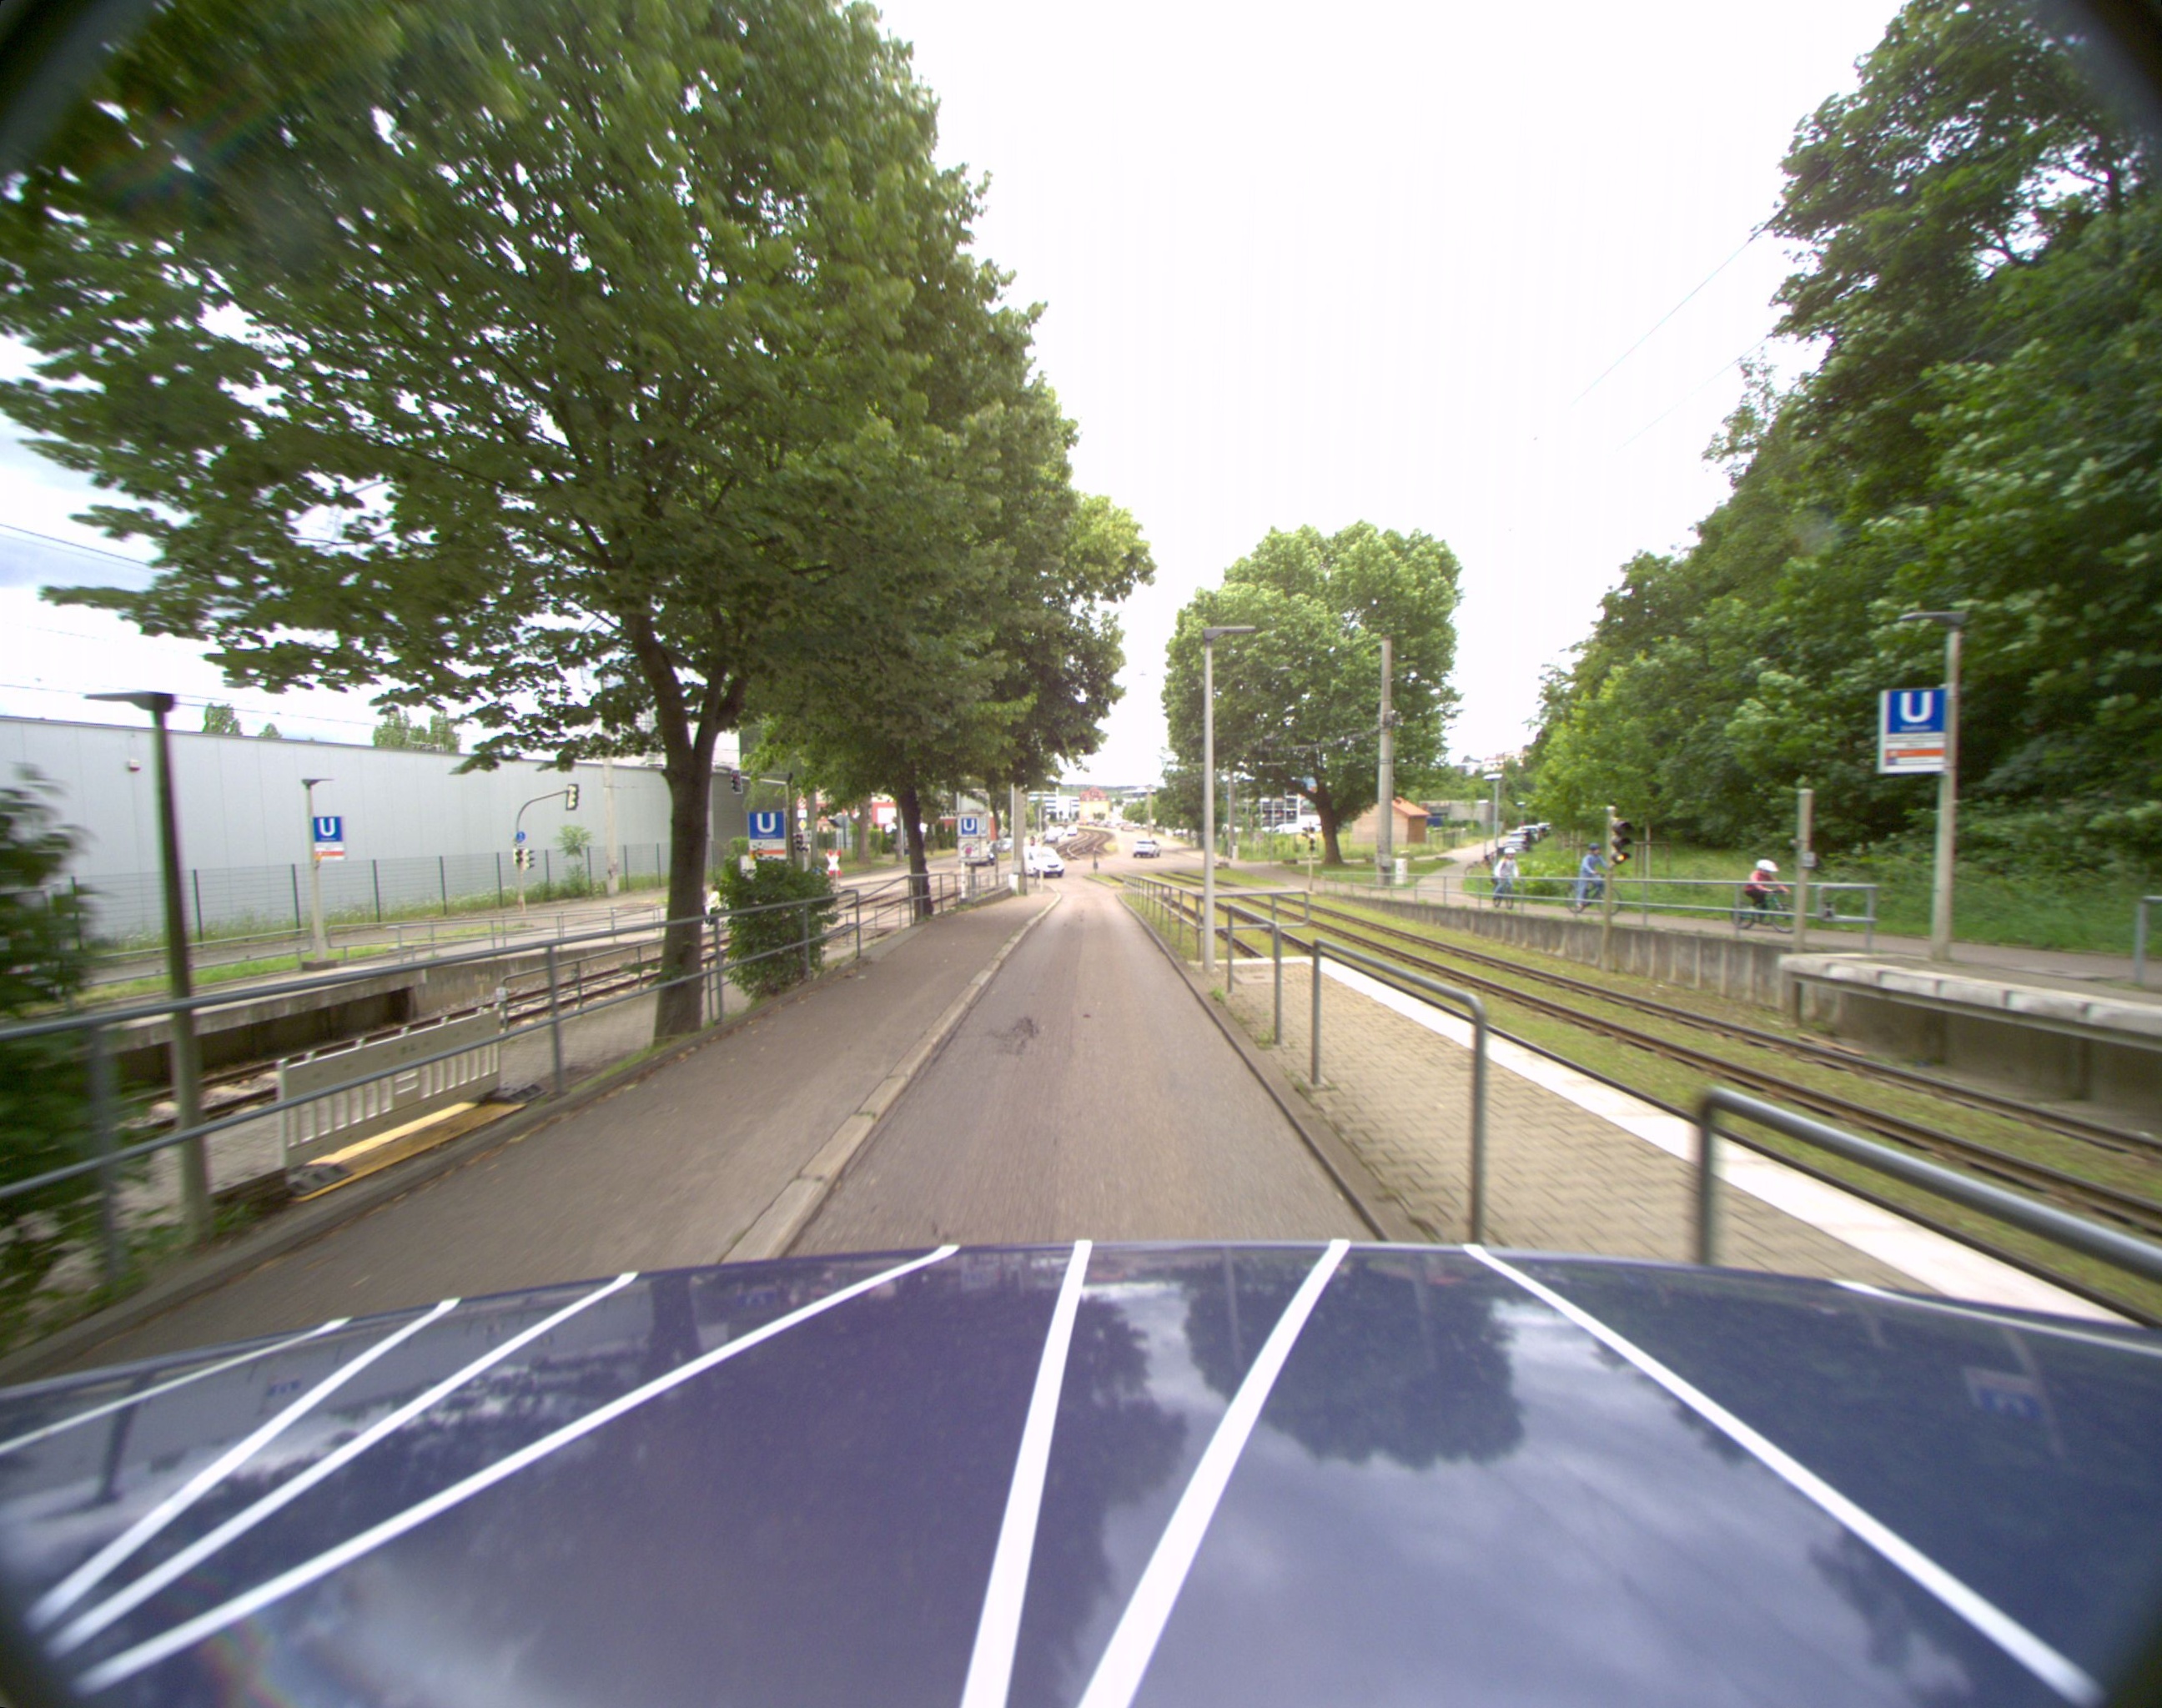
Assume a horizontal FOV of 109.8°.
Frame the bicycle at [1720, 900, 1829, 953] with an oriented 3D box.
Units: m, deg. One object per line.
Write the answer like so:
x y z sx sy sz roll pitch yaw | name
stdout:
11.831 1.218 13.019 0.451 0.776 1.565 -1 0 1 | bicycle

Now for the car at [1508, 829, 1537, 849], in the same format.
38.384 -1.311 65.977 1.994 1.674 4.007 -1 1 33 | car

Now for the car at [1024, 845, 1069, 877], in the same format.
-2.283 0.392 48.781 1.812 1.910 4.471 -2 1 -16 | car

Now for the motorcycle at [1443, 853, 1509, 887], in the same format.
19.340 0.754 37.174 3.063 1.543 1.257 -2 1 -26 | motorcycle

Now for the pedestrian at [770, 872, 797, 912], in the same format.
-12.499 1.591 31.973 0.752 1.666 0.684 -1 1 12 | pedestrian

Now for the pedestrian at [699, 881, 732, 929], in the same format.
-13.144 1.819 27.351 0.752 1.666 0.684 -1 1 12 | pedestrian

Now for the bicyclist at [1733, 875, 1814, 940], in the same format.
11.795 0.900 12.969 0.691 1.047 0.744 -1 0 1 | bicyclist

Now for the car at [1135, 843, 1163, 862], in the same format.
6.323 -0.164 70.500 1.996 1.648 4.003 -1 1 13 | car

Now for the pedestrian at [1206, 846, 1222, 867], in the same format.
10.860 0.203 62.184 1.116 1.724 0.695 -1 2 23 | pedestrian

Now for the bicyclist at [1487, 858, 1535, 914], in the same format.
11.330 0.846 20.047 0.746 1.422 0.908 -2 -1 3 | bicyclist

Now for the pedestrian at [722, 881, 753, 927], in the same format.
-12.812 1.872 28.356 0.752 1.666 0.684 -1 1 12 | pedestrian

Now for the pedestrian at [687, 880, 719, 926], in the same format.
-14.237 1.853 28.610 0.752 1.666 0.684 -1 1 12 | pedestrian

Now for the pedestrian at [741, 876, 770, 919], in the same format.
-12.954 1.712 30.267 0.752 1.666 0.684 -1 1 12 | pedestrian

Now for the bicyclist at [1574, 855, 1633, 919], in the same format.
12.042 0.751 17.529 0.732 1.434 0.840 -1 -1 0 | bicyclist

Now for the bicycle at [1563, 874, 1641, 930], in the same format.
12.033 1.077 17.623 0.464 1.181 1.940 -1 -1 1 | bicycle

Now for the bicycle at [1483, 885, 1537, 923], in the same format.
11.352 1.306 20.163 0.478 0.919 1.845 -2 -1 4 | bicycle

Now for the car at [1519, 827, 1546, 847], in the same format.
41.676 -1.575 70.025 1.994 1.674 4.007 -1 1 33 | car

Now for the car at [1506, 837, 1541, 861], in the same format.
32.307 -0.396 55.440 1.994 1.674 4.007 -1 1 33 | car

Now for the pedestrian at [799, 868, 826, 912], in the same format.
-11.185 1.497 31.660 0.752 1.794 0.684 -1 2 12 | pedestrian
